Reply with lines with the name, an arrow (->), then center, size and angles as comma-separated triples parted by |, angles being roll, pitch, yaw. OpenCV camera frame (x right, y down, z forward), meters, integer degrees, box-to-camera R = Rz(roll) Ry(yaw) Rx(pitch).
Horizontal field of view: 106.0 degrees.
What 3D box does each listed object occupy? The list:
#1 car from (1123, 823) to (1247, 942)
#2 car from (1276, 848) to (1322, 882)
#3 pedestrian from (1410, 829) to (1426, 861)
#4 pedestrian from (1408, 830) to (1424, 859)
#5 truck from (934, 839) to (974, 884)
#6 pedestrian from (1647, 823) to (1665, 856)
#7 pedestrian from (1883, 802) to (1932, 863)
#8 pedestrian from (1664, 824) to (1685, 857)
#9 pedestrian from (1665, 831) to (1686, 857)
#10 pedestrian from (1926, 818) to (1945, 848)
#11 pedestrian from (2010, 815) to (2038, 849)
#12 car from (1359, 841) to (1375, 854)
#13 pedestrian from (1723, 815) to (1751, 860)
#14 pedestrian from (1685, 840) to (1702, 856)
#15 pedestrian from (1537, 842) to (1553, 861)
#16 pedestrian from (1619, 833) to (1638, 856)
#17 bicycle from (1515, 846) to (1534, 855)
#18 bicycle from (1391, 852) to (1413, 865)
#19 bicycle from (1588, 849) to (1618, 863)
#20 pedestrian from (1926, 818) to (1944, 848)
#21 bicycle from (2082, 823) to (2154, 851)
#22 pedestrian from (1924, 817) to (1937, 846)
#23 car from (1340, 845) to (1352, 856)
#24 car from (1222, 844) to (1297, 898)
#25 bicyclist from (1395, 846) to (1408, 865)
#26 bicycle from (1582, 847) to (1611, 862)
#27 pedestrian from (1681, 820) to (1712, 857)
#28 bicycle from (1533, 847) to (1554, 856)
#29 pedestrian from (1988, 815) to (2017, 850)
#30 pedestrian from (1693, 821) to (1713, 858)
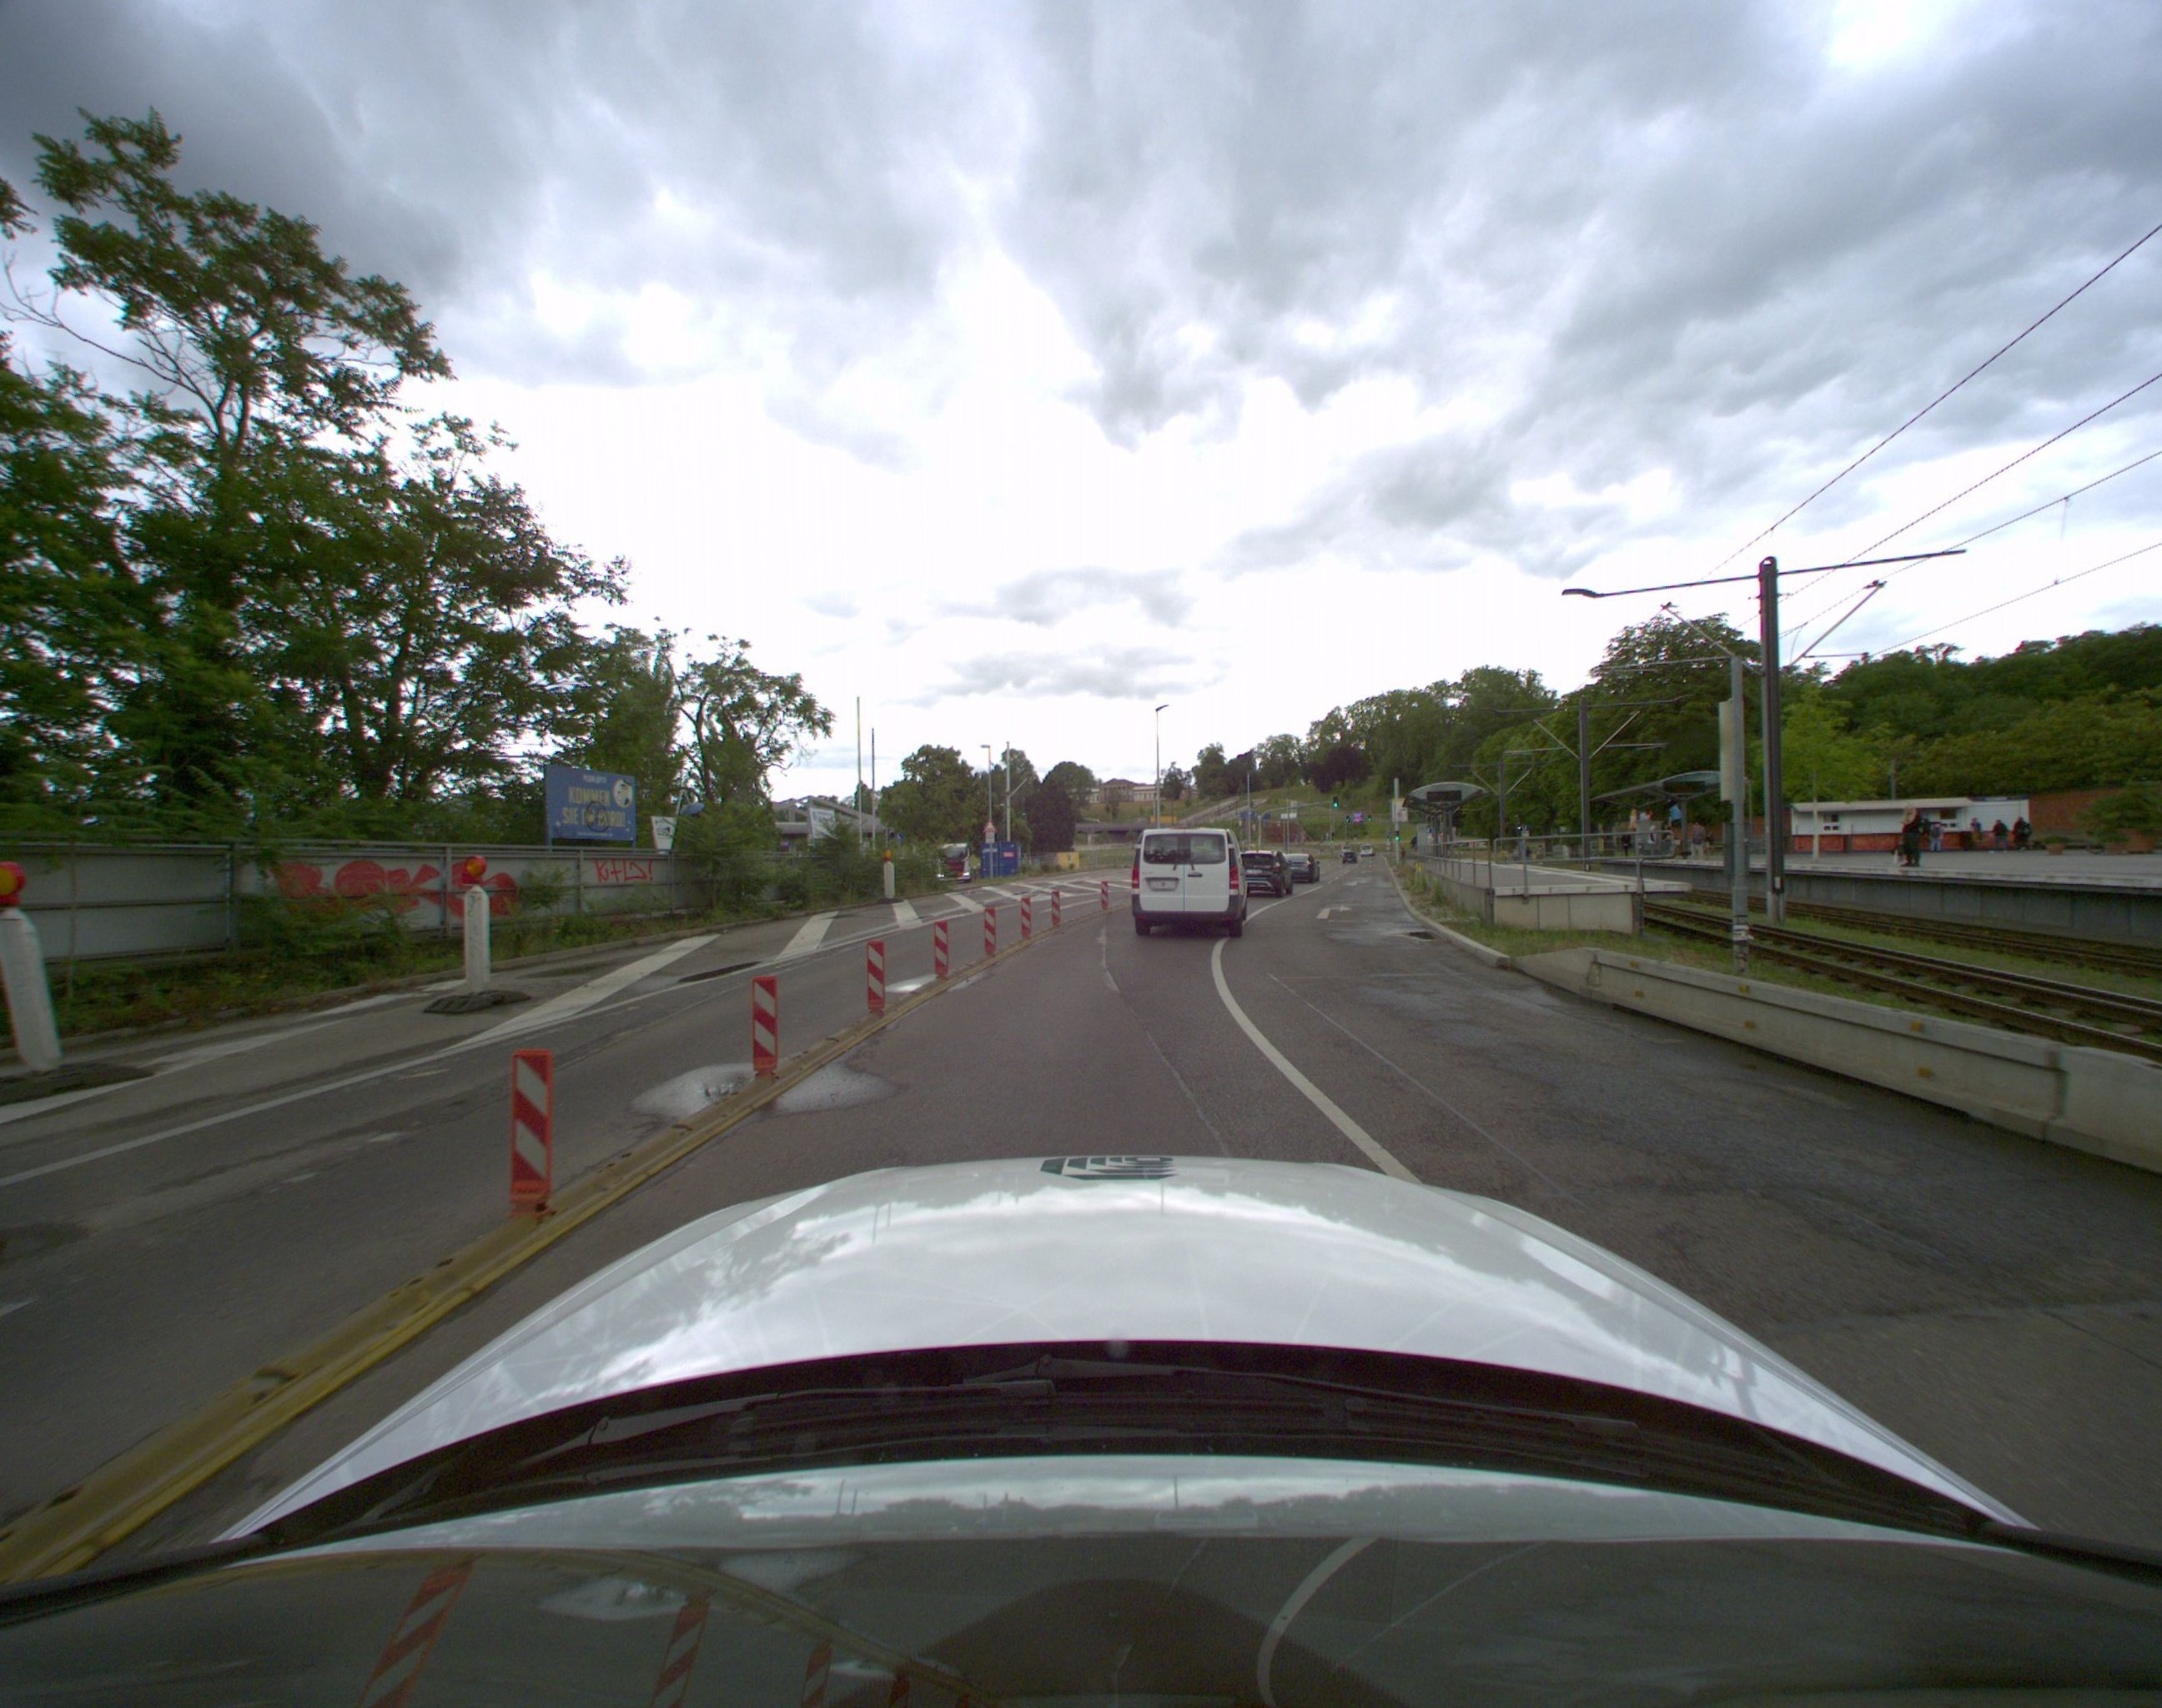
car -> 2.129, 0.433, 15.474 | 1.946, 1.903, 4.476 | 1, 0, 12
car -> 10.931, 0.514, 40.660 | 1.823, 1.582, 4.083 | 1, 0, 20
pedestrian -> 18.168, -0.503, 43.970 | 0.764, 1.699, 0.735 | 1, 2, 22
pedestrian -> 18.408, -0.524, 44.745 | 0.744, 1.553, 0.779 | 1, 2, 22
truck -> -10.143, 0.545, 65.930 | 2.790, 3.336, 8.458 | -3, 1, -7
pedestrian -> 29.542, -0.755, 41.865 | 0.539, 1.677, 0.679 | 1, 0, 17
pedestrian -> 23.075, -0.595, 22.739 | 0.627, 1.687, 0.870 | 1, 0, 20
pedestrian -> 30.209, -0.678, 41.455 | 0.668, 1.677, 0.680 | 1, 0, 17
pedestrian -> 28.021, -0.480, 38.376 | 0.652, 1.191, 0.679 | 1, 0, 22
pedestrian -> 43.594, -1.070, 41.552 | 0.481, 1.487, 0.462 | 1, 0, 23
pedestrian -> 43.695, -1.017, 37.737 | 0.581, 1.583, 0.624 | 1, 0, 8
car -> 45.855, -0.984, 130.602 | 2.184, 2.013, 5.173 | 0, 0, 16
pedestrian -> 27.347, -0.688, 33.937 | 0.627, 1.838, 0.955 | 1, 0, 22
pedestrian -> 28.311, -0.269, 37.662 | 0.556, 0.740, 0.427 | 1, 0, 29
pedestrian -> 40.000, -0.183, 70.212 | 0.830, 1.609, 0.778 | -2, -1, -2
pedestrian -> 31.721, -0.562, 47.166 | 0.668, 1.323, 0.973 | 1, 0, 19
bicycle -> 51.749, -0.402, 95.022 | 1.896, 0.975, 0.533 | -2, 0, 21
bicycle -> 27.528, 0.353, 69.834 | 1.684, 1.074, 0.616 | -2, 1, -19
bicycle -> 40.041, 0.145, 62.527 | 1.857, 0.963, 0.535 | 1, 0, 21
pedestrian -> 43.999, -1.090, 41.942 | 0.481, 1.535, 0.462 | 1, 0, 23
bicycle -> 41.047, -0.660, 32.264 | 0.562, 1.061, 1.710 | 1, 0, -10
pedestrian -> 44.476, -1.191, 42.642 | 0.338, 1.487, 0.317 | 1, 0, 23
car -> 44.083, -0.643, 135.483 | 1.739, 1.772, 4.017 | 1, 0, 16
car -> 6.252, 0.527, 28.225 | 1.822, 1.729, 4.084 | 1, 0, 23
bicyclist -> 27.510, 0.102, 69.827 | 0.806, 1.572, 0.614 | -2, 1, -19
bicycle -> 41.052, 0.047, 64.851 | 1.857, 1.139, 0.535 | 1, 0, 21
pedestrian -> 28.436, -0.713, 37.633 | 0.854, 1.677, 0.764 | 1, 0, 10
bicycle -> 49.068, -0.311, 86.385 | 1.896, 0.895, 0.533 | -2, 0, 21
pedestrian -> 43.094, -1.004, 38.096 | 0.651, 1.583, 0.623 | 1, 0, 7
pedestrian -> 27.912, -0.643, 36.569 | 0.520, 1.620, 0.679 | 1, 0, 22
